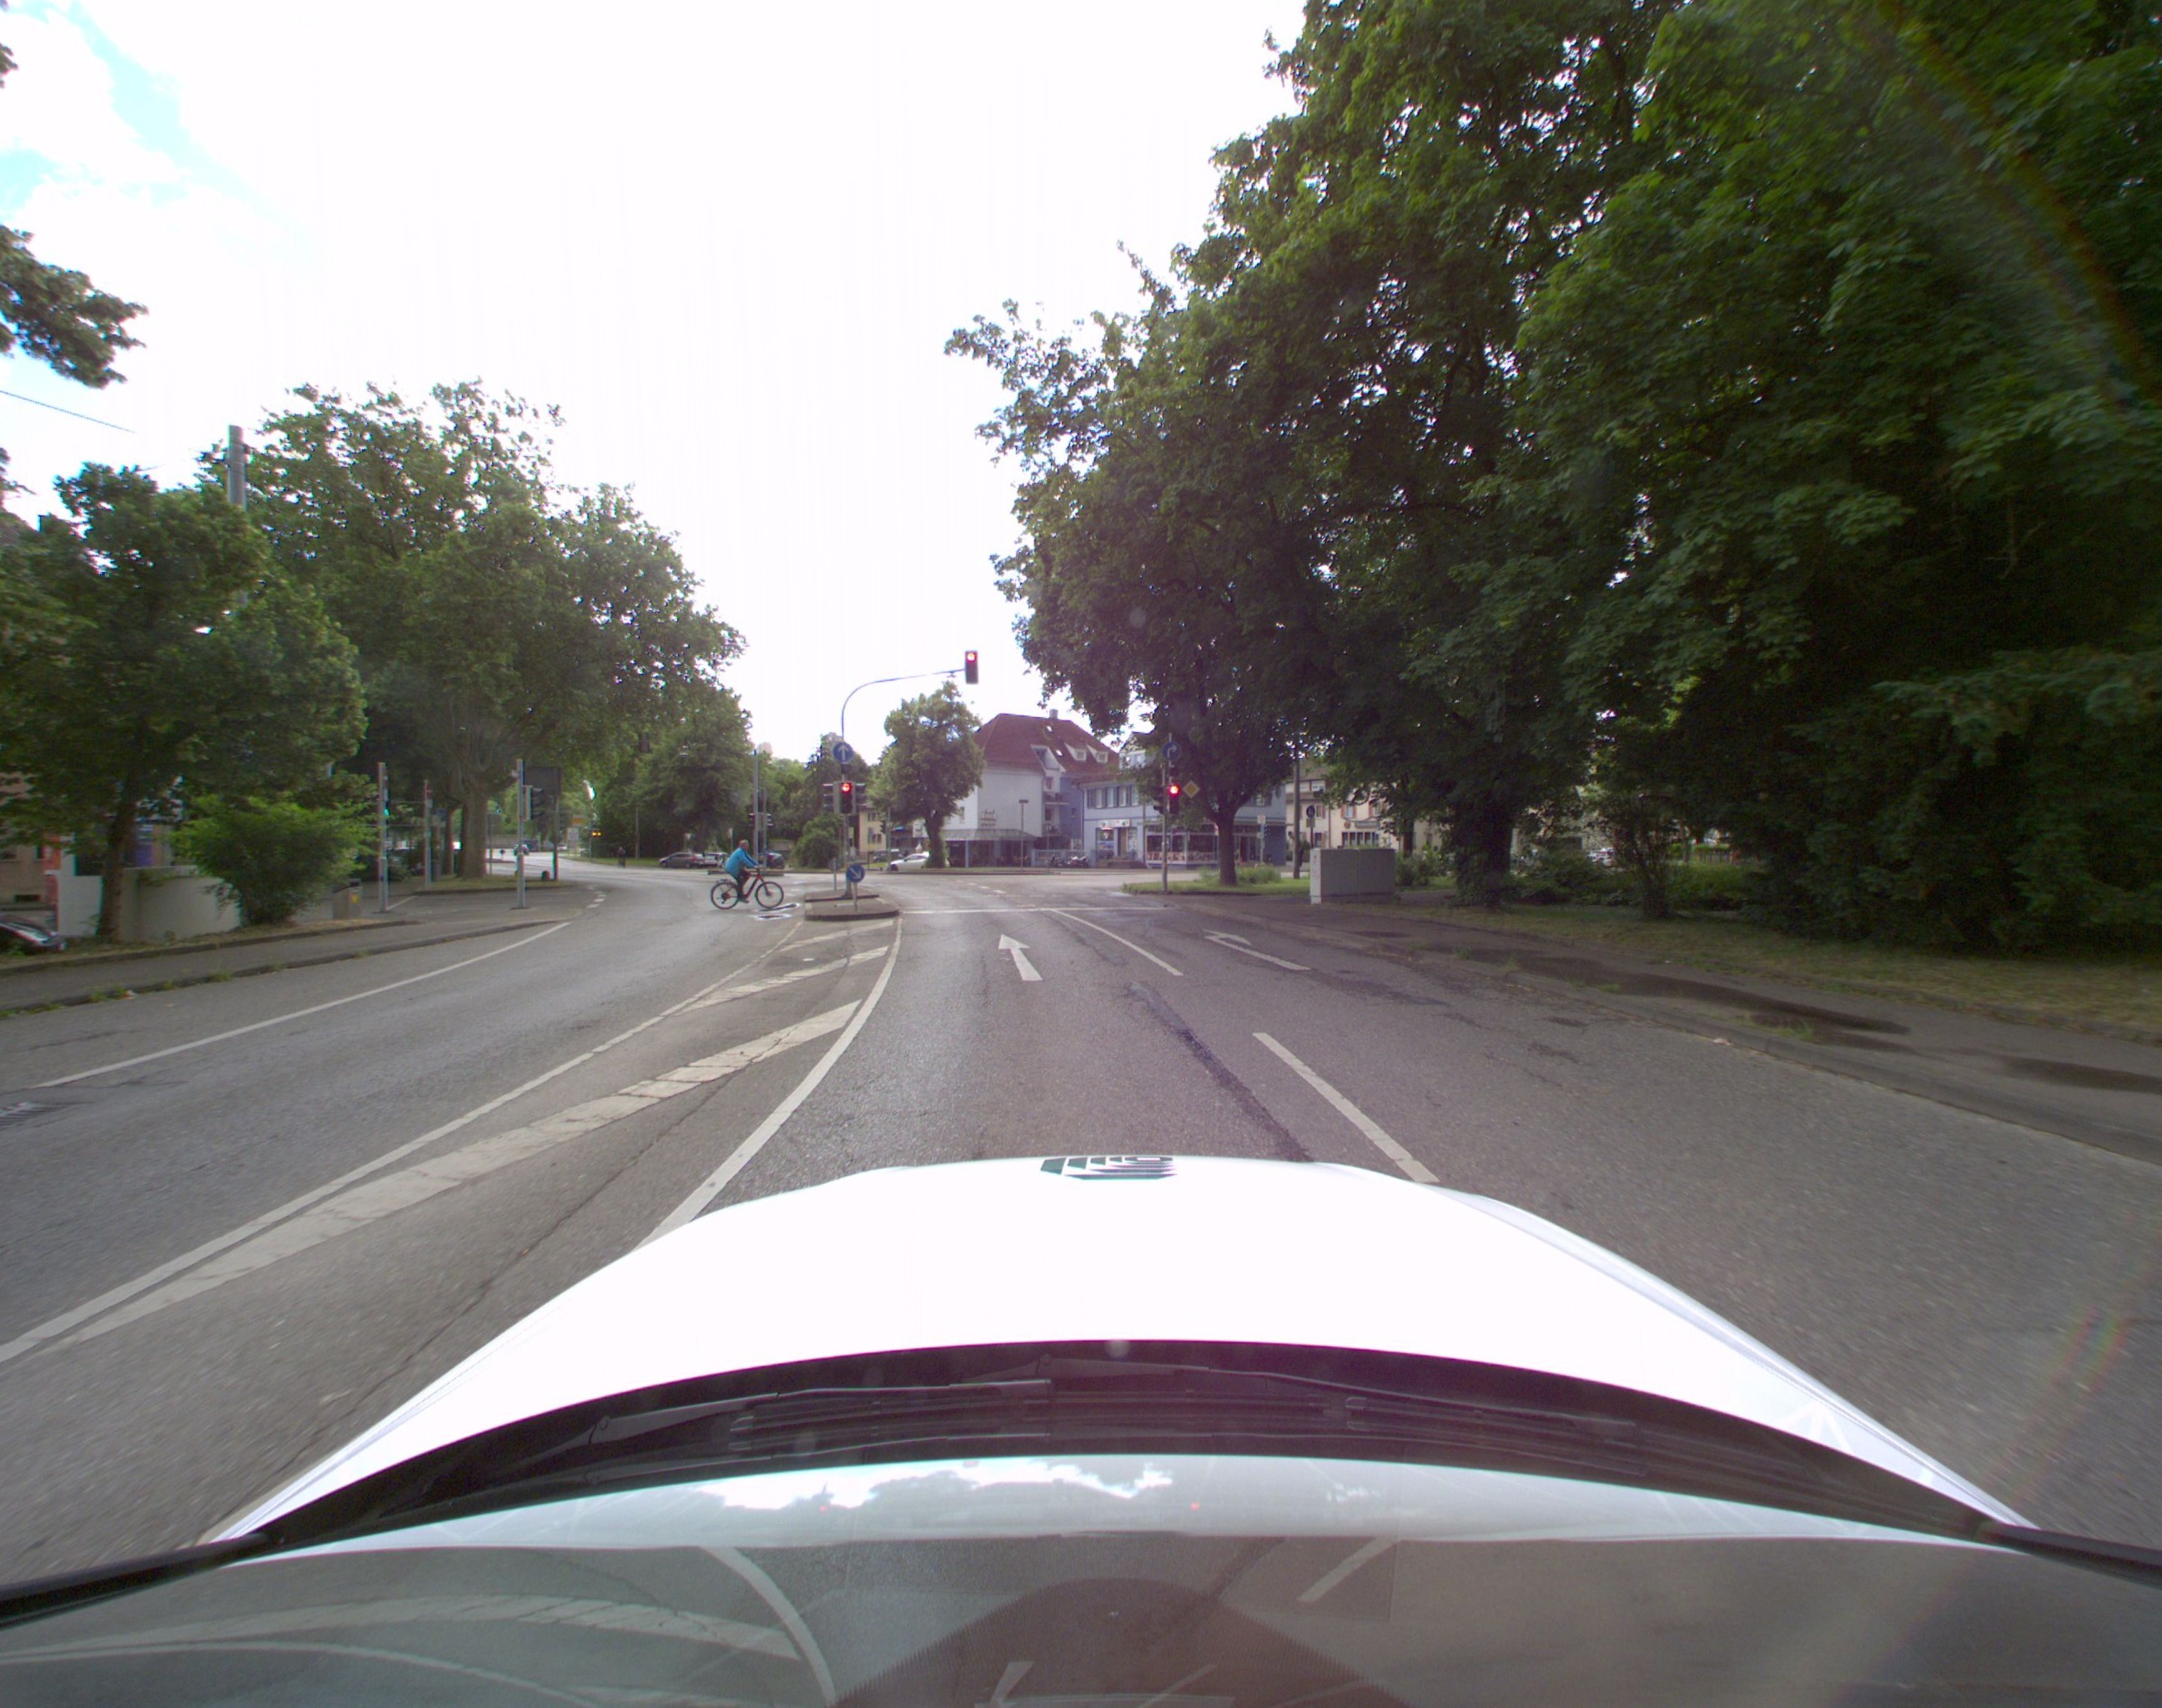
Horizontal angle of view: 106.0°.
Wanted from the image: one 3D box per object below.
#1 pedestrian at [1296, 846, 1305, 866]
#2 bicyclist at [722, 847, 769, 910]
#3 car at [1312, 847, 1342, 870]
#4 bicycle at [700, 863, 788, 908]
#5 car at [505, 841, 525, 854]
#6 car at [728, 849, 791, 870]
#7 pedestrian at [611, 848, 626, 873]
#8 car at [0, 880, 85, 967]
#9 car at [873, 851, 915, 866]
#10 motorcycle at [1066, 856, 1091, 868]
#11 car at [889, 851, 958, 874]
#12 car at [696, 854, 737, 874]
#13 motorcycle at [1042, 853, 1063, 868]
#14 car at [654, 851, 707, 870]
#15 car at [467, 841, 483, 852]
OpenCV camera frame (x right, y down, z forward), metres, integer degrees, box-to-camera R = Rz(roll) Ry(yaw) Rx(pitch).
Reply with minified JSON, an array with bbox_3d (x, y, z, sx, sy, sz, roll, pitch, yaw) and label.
[{"bbox_3d":[17.232,0.160,63.882,0.407,1.552,0.495,-1,0,-40],"label":"pedestrian"},{"bbox_3d":[-8.759,0.627,21.288,1.103,1.599,0.934,0,0,-21],"label":"bicyclist"},{"bbox_3d":[21.212,0.382,70.176,1.838,1.865,3.583,-1,0,27],"label":"car"},{"bbox_3d":[-8.765,0.807,21.292,2.078,1.082,0.934,-1,0,-21],"label":"bicycle"},{"bbox_3d":[-85.952,-1.003,123.710,2.005,1.881,3.963,-2,0,-28],"label":"car"},{"bbox_3d":[-25.669,0.453,65.091,4.537,1.517,2.011,-1,0,23],"label":"car"},{"bbox_3d":[-41.161,0.566,72.417,0.849,2.178,0.781,-1,0,26],"label":"pedestrian"},{"bbox_3d":[-19.084,1.200,13.068,3.712,1.373,1.715,-2,0,-44],"label":"car"},{"bbox_3d":[-19.886,0.489,86.545,4.013,1.486,1.743,-2,0,-31],"label":"car"},{"bbox_3d":[-0.215,0.624,63.423,1.819,0.848,0.564,-1,5,25],"label":"motorcycle"},{"bbox_3d":[-11.362,0.620,58.749,4.537,1.517,2.011,-1,0,23],"label":"car"},{"bbox_3d":[-34.196,0.909,76.494,1.986,1.772,4.001,-1,0,1],"label":"car"},{"bbox_3d":[-2.241,0.508,64.805,1.482,1.106,0.563,-2,5,21],"label":"motorcycle"},{"bbox_3d":[-36.051,0.549,73.310,3.956,1.574,2.009,-1,0,16],"label":"car"},{"bbox_3d":[-114.348,-1.453,153.725,2.006,1.881,3.962,-2,0,-30],"label":"car"}]
